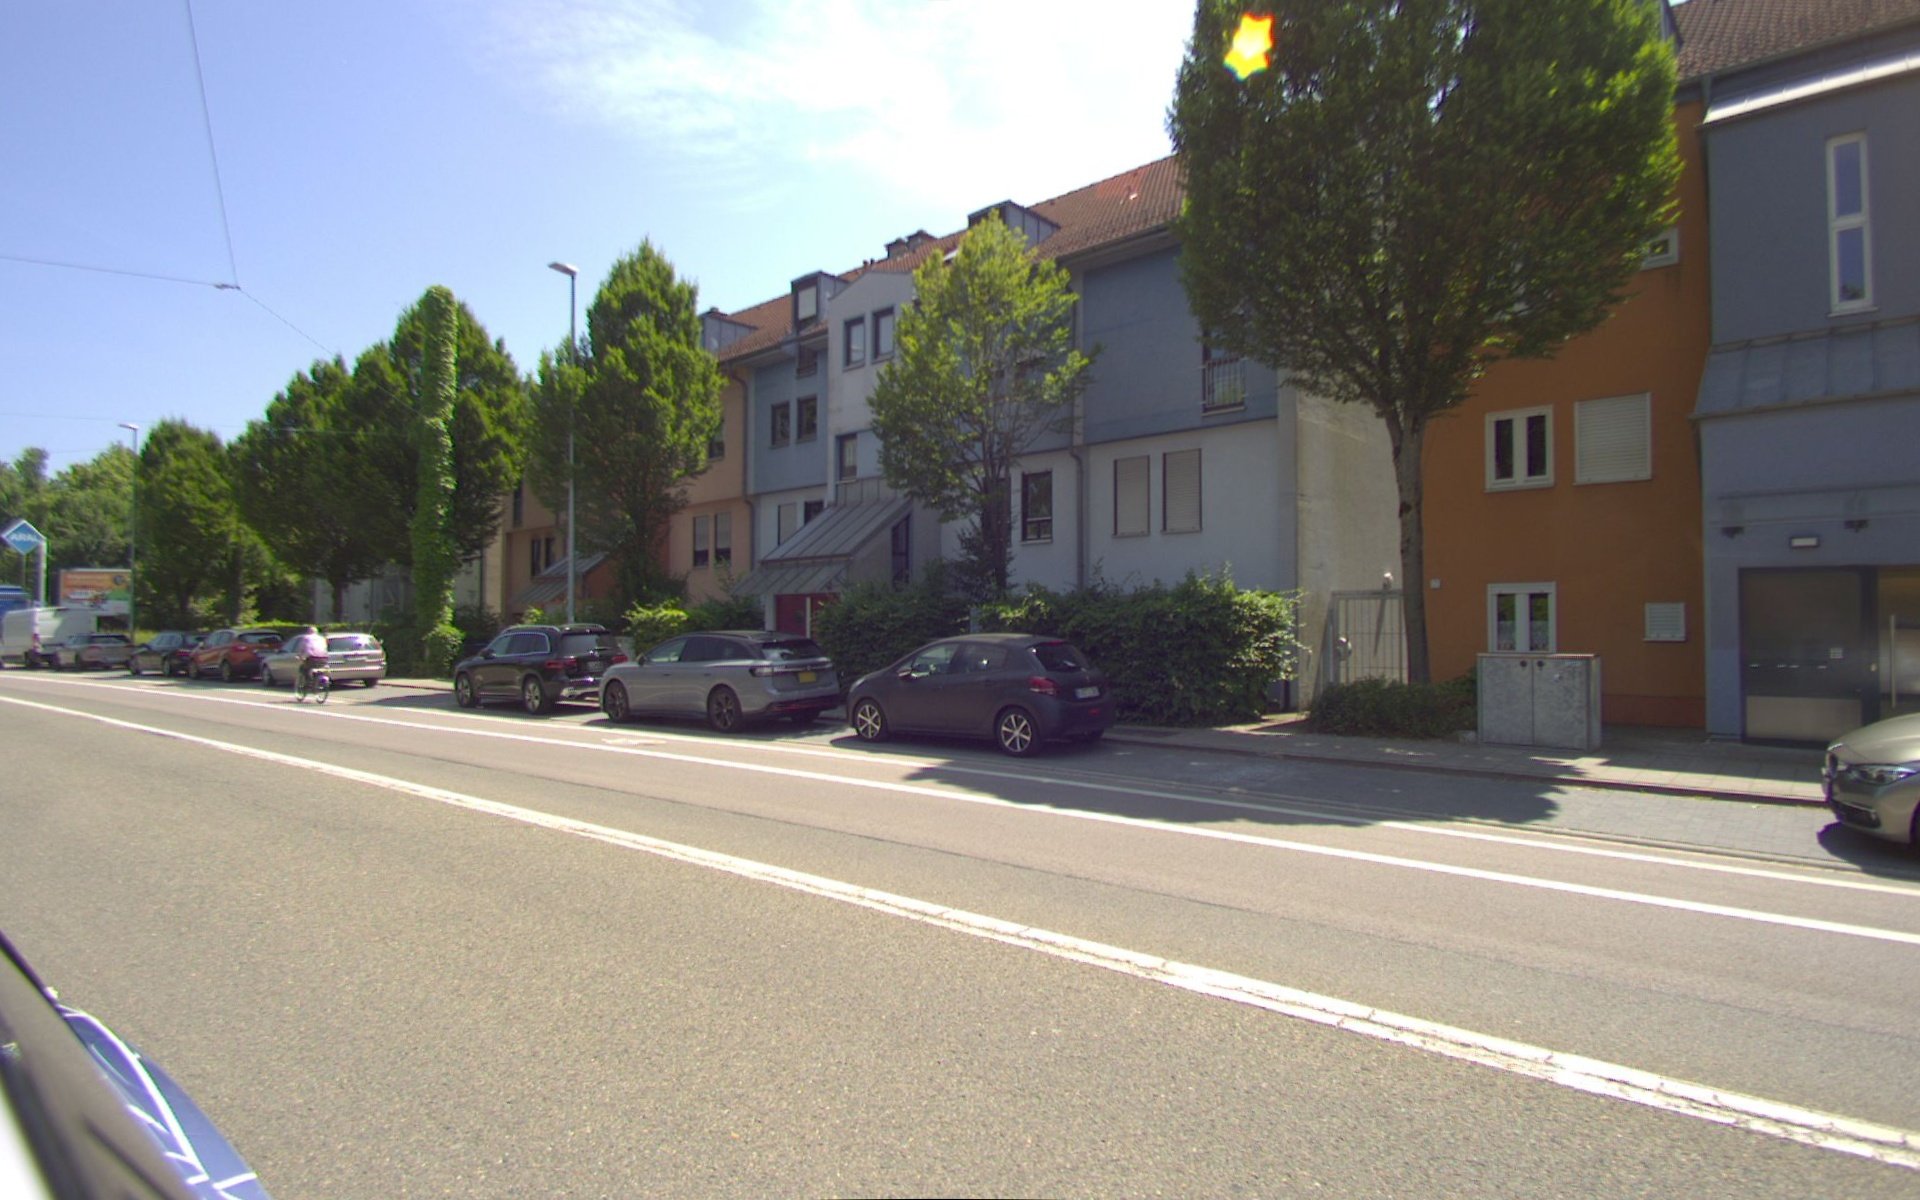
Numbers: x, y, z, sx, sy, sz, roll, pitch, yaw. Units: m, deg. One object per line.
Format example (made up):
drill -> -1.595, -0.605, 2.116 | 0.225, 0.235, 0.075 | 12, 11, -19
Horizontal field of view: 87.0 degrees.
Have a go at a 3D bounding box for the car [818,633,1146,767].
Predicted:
car -> 0.170, 1.208, 13.564 | 4.254, 1.443, 1.732 | -2, 0, 41

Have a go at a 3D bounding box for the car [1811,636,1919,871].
car -> 8.448, 1.006, 6.271 | 4.745, 1.440, 1.688 | -2, 2, 39

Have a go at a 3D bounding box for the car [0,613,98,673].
car -> -38.595, 1.803, 42.518 | 5.214, 2.326, 2.260 | -2, -1, 33

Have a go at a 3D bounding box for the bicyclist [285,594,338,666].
bicyclist -> -14.076, 0.652, 21.956 | 0.737, 1.516, 0.728 | -1, -4, 42

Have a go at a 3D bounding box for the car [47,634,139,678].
car -> -33.684, 2.165, 39.288 | 4.136, 1.549, 1.848 | -2, -1, 37

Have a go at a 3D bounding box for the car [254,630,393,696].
car -> -17.376, 1.659, 27.538 | 4.491, 1.595, 1.822 | -2, -1, 39

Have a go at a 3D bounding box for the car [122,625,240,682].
car -> -26.320, 1.748, 34.154 | 4.549, 1.808, 1.976 | -1, -2, 36

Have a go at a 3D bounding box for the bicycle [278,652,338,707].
bicycle -> -14.152, 1.704, 21.944 | 1.638, 1.104, 0.633 | -1, -4, 42

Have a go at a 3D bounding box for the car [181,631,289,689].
car -> -22.195, 1.808, 30.960 | 3.674, 1.606, 1.585 | -2, -1, 35

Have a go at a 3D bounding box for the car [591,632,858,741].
car -> -4.017, 1.328, 16.800 | 4.753, 1.507, 1.807 | -2, -1, 40

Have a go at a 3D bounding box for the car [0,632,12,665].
car -> -55.199, 2.680, 55.702 | 4.062, 1.790, 2.005 | 1, -2, -34

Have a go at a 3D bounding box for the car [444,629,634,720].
car -> -8.558, 1.430, 20.441 | 4.142, 1.601, 1.750 | -2, -1, 38
